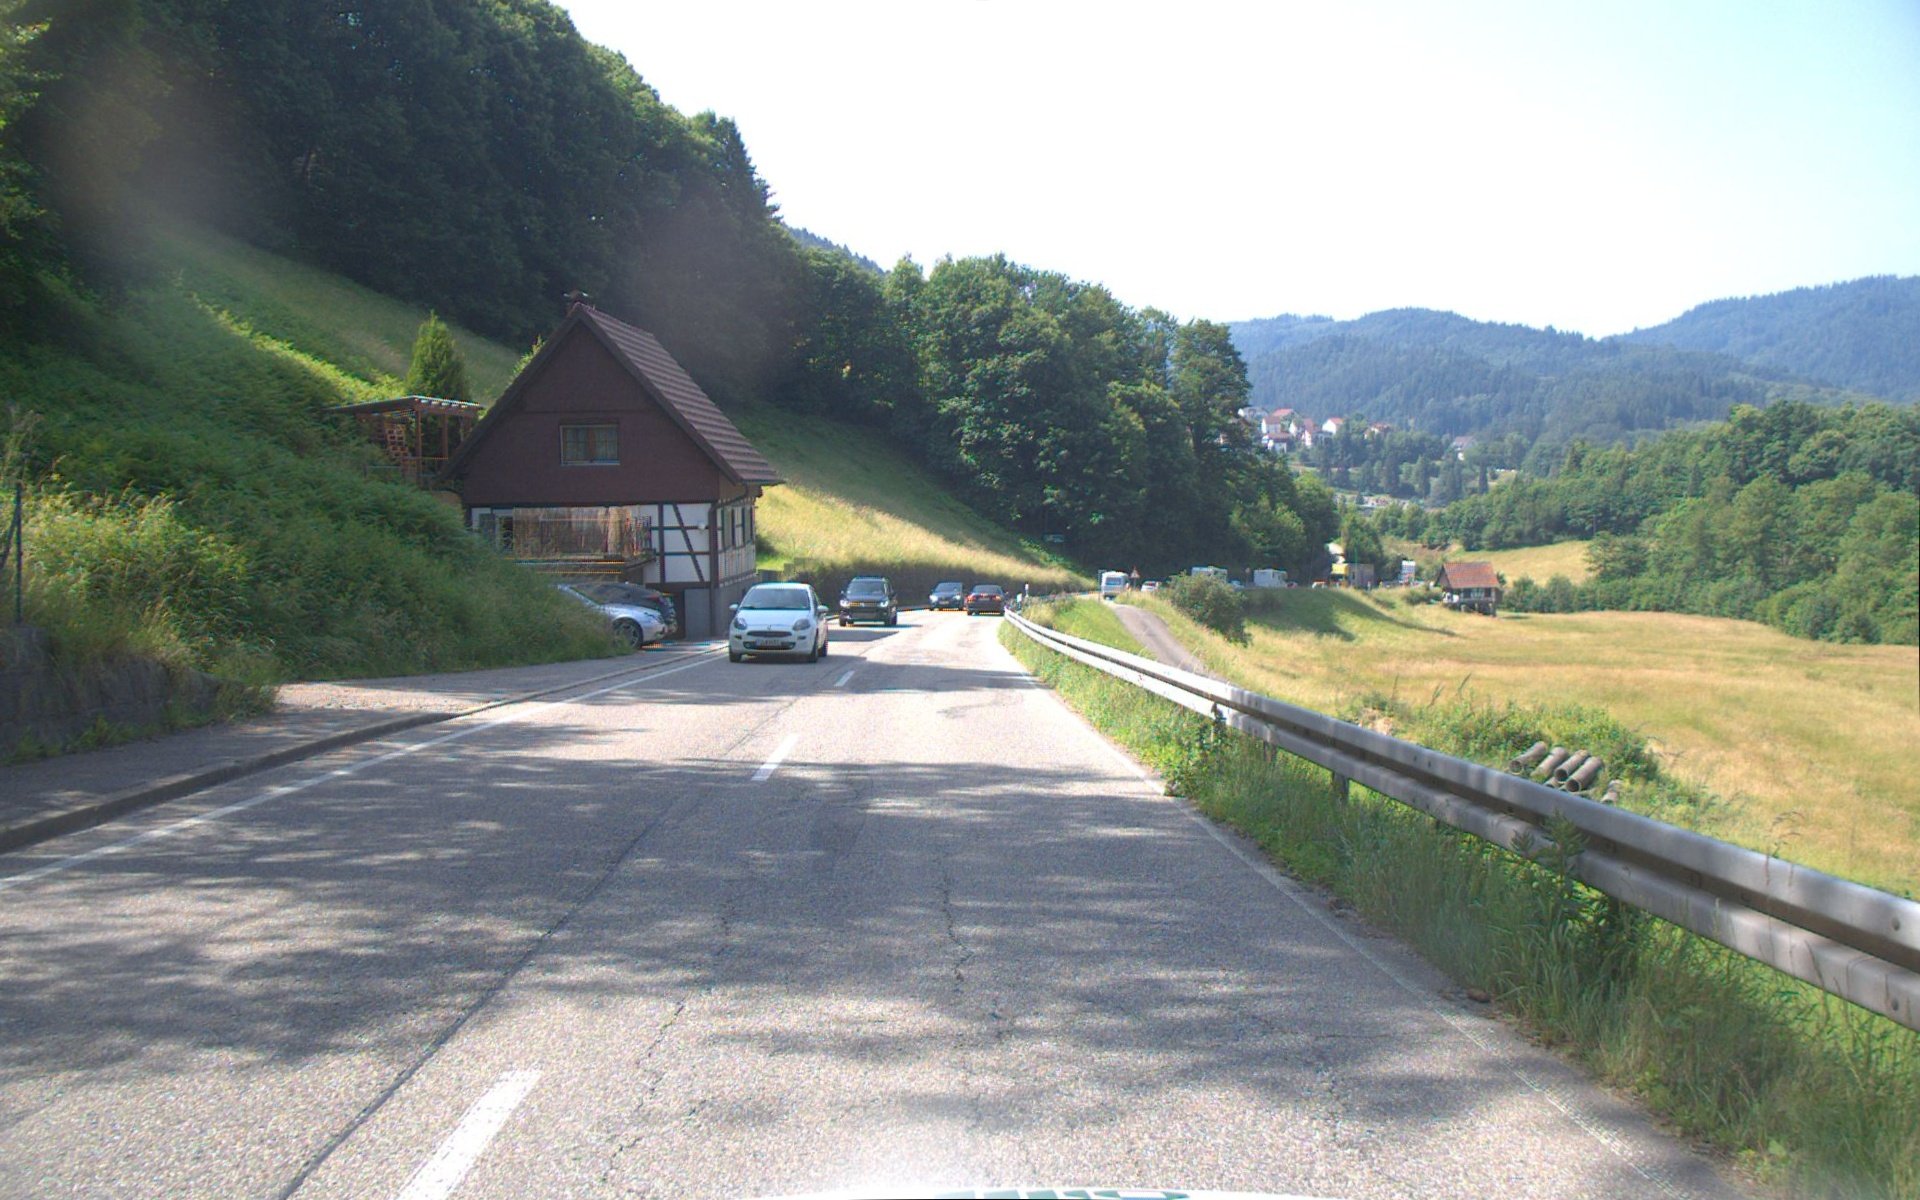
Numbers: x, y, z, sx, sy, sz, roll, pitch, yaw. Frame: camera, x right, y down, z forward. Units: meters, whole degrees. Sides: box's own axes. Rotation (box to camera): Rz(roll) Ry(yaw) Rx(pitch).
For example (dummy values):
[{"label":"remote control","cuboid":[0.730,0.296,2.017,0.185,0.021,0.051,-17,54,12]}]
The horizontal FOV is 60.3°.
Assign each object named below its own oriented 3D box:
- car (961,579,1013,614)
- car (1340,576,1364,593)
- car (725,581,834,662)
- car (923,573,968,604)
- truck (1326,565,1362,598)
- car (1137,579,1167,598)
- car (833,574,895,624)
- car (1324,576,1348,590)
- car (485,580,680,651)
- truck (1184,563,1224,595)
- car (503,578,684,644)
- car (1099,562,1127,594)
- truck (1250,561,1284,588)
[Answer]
[{"label":"car","cuboid":[1.260,-0.174,74.910,1.733,1.358,3.771,2,3,10]},{"label":"car","cuboid":[52.621,-2.107,221.820,1.958,1.958,3.991,5,1,31]},{"label":"car","cuboid":[-3.472,0.399,32.359,1.741,1.462,3.999,0,0,-1]},{"label":"car","cuboid":[-0.728,-0.618,84.966,1.727,1.420,4.149,1,2,7]},{"label":"truck","cuboid":[55.123,-2.699,237.269,3.130,4.472,6.558,3,3,30]},{"label":"car","cuboid":[18.065,-1.087,155.367,1.953,1.509,4.002,4,3,19]},{"label":"car","cuboid":[-3.302,-0.042,57.566,1.850,1.673,4.258,0,0,1]},{"label":"car","cuboid":[48.536,-2.207,213.496,1.873,1.511,3.991,7,2,30]},{"label":"car","cuboid":[-8.123,0.320,35.789,3.737,1.441,1.858,0,2,2]},{"label":"truck","cuboid":[25.657,-2.269,173.472,2.734,3.049,6.871,4,3,19]},{"label":"car","cuboid":[-8.475,0.236,38.419,3.737,1.457,1.864,0,2,2]},{"label":"car","cuboid":[12.576,-1.814,135.515,1.951,2.393,4.919,2,3,9]},{"label":"truck","cuboid":[35.897,-2.958,193.222,2.194,2.852,6.224,3,1,27]}]
